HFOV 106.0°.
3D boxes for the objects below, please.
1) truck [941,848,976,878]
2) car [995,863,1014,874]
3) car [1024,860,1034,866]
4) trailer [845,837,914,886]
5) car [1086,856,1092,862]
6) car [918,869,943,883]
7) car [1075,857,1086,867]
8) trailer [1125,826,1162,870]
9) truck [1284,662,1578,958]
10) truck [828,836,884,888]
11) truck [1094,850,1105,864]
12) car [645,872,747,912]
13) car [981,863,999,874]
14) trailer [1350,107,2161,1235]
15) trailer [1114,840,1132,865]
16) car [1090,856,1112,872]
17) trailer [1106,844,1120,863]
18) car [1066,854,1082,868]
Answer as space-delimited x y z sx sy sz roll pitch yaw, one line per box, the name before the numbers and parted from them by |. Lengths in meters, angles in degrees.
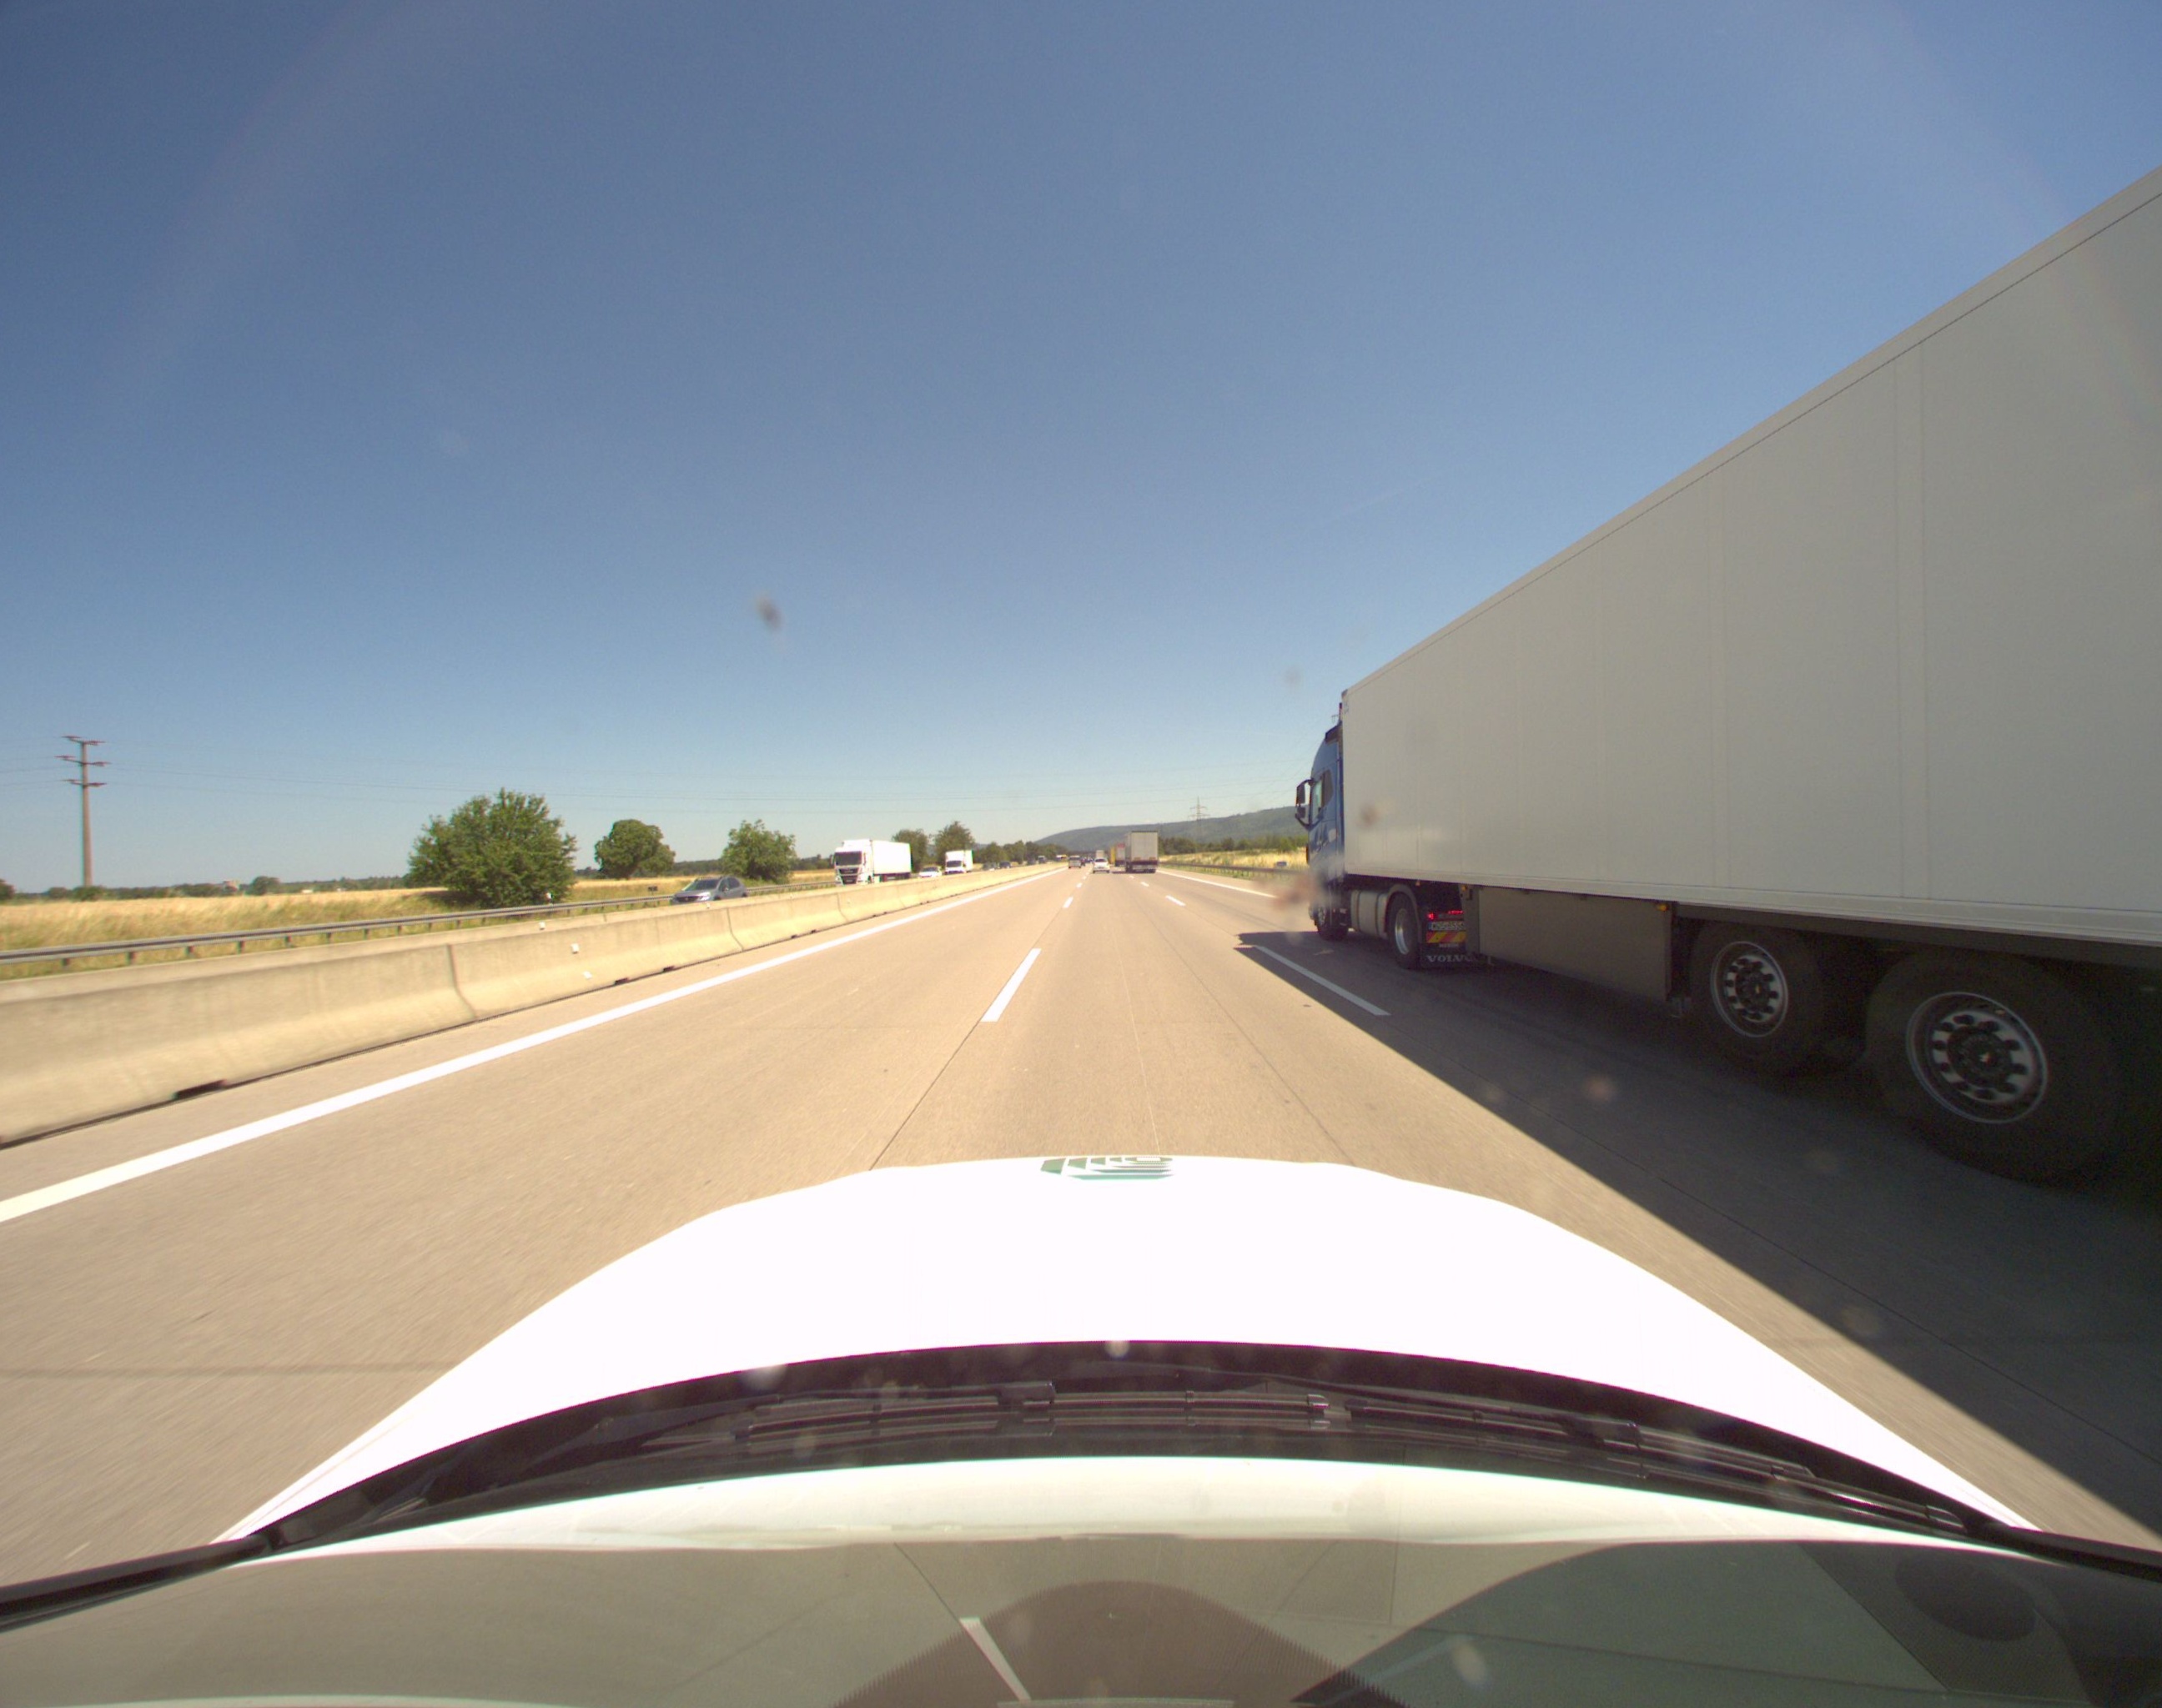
truck | -13.815 0.974 92.224 2.538 3.142 7.923 -1 0 1
car | -9.925 1.885 106.209 1.839 1.351 4.496 -2 0 2
car | -9.484 1.699 149.482 1.515 1.053 3.525 -1 0 3
trailer | -18.217 0.667 74.768 2.809 4.044 12.682 -1 0 2
car | 2.404 1.539 239.828 1.777 1.881 4.001 -1 0 1
car | -14.197 2.090 77.067 1.676 1.146 4.393 -2 0 -3
car | -0.049 1.580 157.450 1.986 1.957 4.001 -1 0 1
trailer | 6.220 -0.545 82.996 3.007 4.061 14.211 -1 0 2
truck | 5.481 -0.594 13.919 2.740 4.044 5.467 -1 0 1
truck | -18.466 0.627 67.217 2.808 4.044 5.680 -1 0 2
truck | 5.960 0.974 258.142 3.341 4.272 8.230 -1 0 1
car | -15.365 1.470 32.807 1.729 1.373 4.906 -1 0 1
car | -9.812 1.525 88.009 1.537 1.163 3.376 -1 0 1
trailer | 5.303 -0.643 5.908 2.699 4.043 12.905 -1 0 1
trailer | 7.270 -0.193 142.286 2.863 4.101 13.518 -1 0 2
car | 2.063 1.035 83.259 2.099 1.536 4.124 -1 0 2
trailer | 7.900 0.030 203.810 3.204 4.564 13.460 -1 0 1
car | -1.024 1.106 125.919 2.246 2.014 4.299 -1 0 2
